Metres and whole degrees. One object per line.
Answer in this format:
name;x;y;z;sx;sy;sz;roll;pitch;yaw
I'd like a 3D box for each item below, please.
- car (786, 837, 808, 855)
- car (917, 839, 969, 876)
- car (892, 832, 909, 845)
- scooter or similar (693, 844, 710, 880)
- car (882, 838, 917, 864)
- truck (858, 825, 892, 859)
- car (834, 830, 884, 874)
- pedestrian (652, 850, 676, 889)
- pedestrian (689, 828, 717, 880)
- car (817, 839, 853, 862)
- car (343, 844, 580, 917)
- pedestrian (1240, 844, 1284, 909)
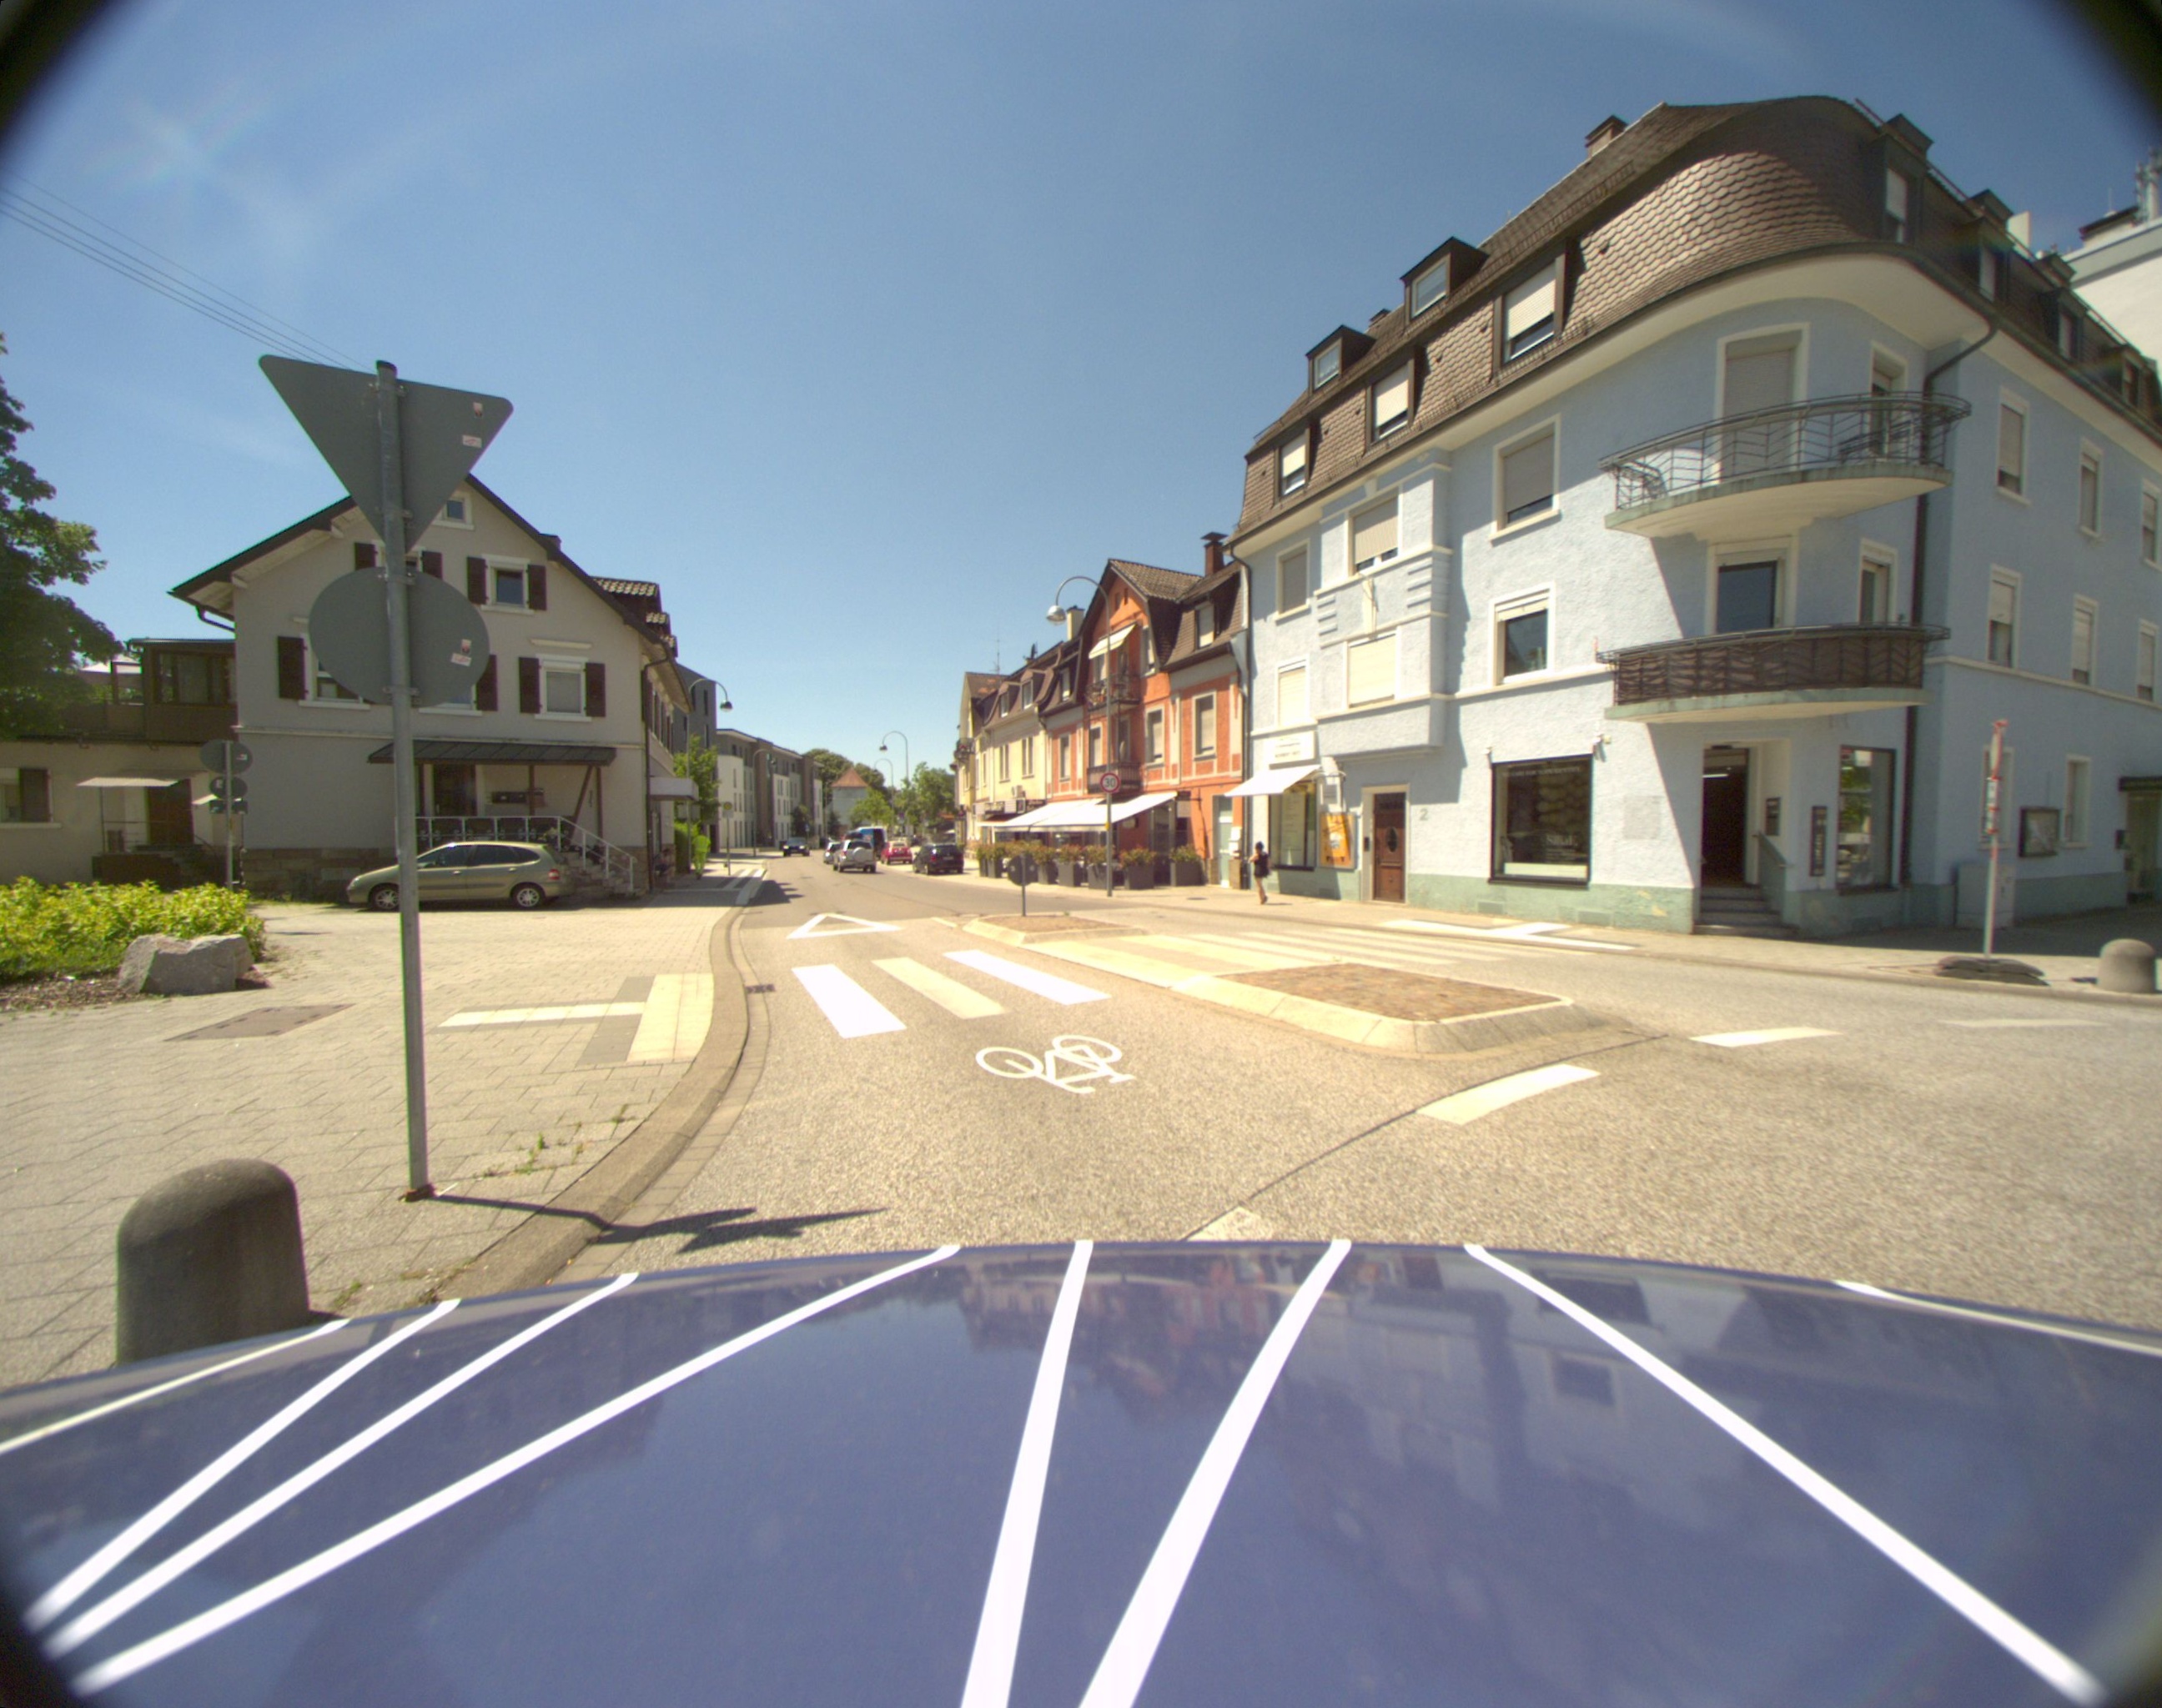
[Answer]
car;-25.745;-0.773;68.972;1.756;1.538;3.587;-3;3;-19
car;-6.618;0.126;36.262;1.685;1.538;3.938;-3;3;-21
car;-22.003;-1.886;92.473;1.683;1.538;3.589;-2;3;-9
scooter or similar;-15.032;0.316;30.088;0.528;1.365;1.344;-1;3;-28
car;-11.697;-0.222;48.757;1.685;1.538;3.586;-3;3;-21
truck;-15.249;-0.945;56.109;1.963;2.357;4.328;-3;3;-21
car;-11.418;-0.154;38.851;1.933;2.096;4.440;1;1;-23
pedestrian;-14.161;0.506;25.825;0.686;1.278;0.579;-1;2;-27
pedestrian;-15.009;-0.031;30.149;0.922;2.019;0.898;-1;3;-28
car;-16.271;-0.250;50.232;1.686;1.449;3.585;0;2;-27
car;-14.509;0.566;18.095;4.005;1.587;1.791;0;1;-22
pedestrian;4.402;0.529;18.465;0.629;1.516;0.801;-4;3;-27
